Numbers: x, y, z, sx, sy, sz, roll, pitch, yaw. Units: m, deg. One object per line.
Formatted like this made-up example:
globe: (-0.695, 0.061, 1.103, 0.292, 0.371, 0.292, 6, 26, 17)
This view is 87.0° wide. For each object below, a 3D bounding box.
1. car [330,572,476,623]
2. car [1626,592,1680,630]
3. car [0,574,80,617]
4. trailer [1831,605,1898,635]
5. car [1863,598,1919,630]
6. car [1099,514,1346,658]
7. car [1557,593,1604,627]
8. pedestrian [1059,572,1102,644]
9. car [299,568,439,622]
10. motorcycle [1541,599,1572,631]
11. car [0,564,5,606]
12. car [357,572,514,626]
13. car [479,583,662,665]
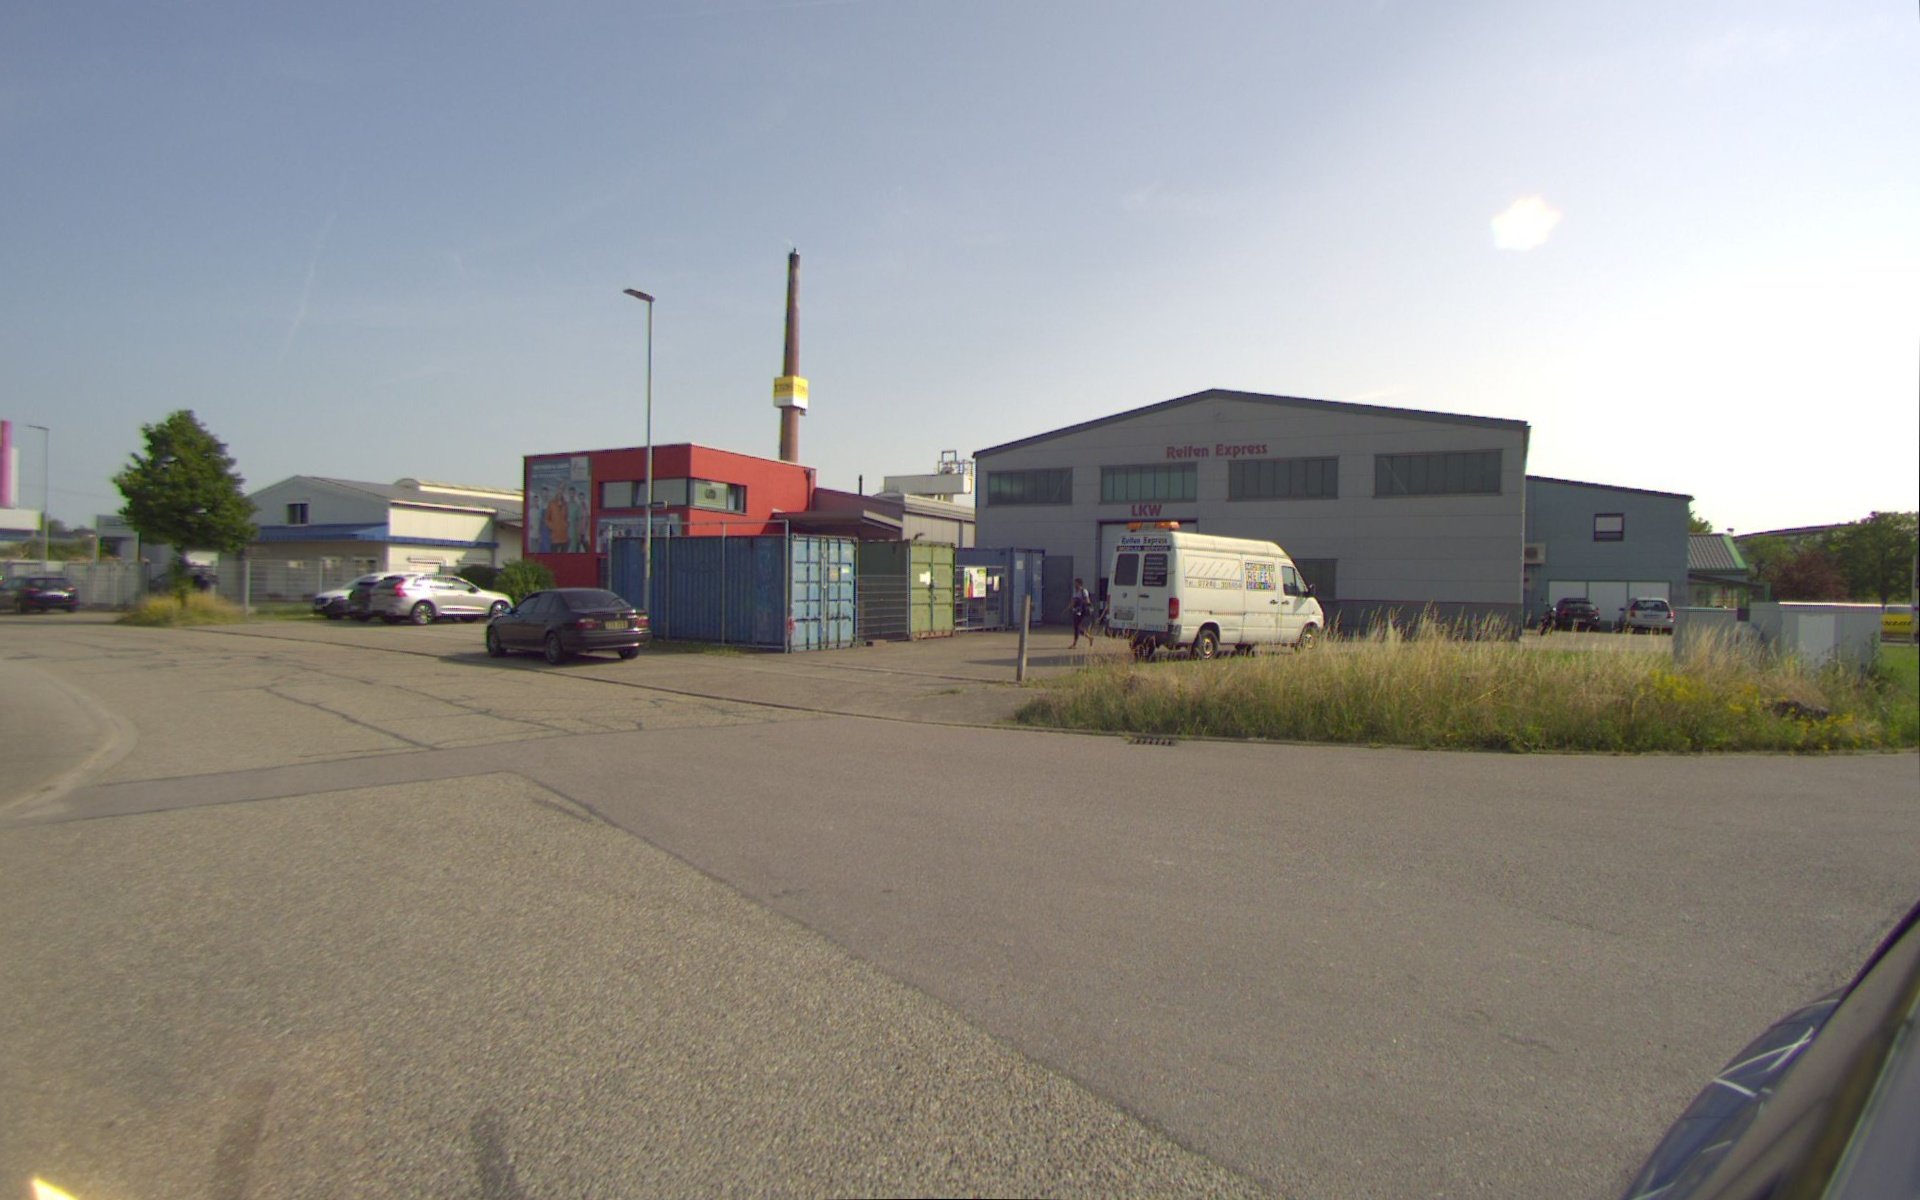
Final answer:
car: (-19.454, -0.112, 35.497, 1.773, 1.653, 4.161, 2, 1, 31)
car: (30.455, 0.458, 44.568, 1.625, 1.588, 3.765, 1, 1, 30)
car: (-36.298, -0.200, 39.703, 3.564, 1.541, 1.812, 2, 1, 34)
trailer: (39.575, 0.854, 44.346, 1.481, 1.264, 2.948, 0, -1, 28)
car: (48.115, 0.696, 51.853, 1.704, 1.592, 4.094, 1, 1, 27)
car: (5.754, -0.263, 21.729, 5.771, 2.739, 1.980, 1, 0, -37)
car: (27.891, 0.411, 45.550, 1.668, 1.420, 3.672, 1, 1, 30)
pedestrian: (2.839, 0.185, 23.959, 0.733, 1.660, 0.706, 1, 0, -23)
car: (-21.598, -0.187, 37.148, 1.702, 1.819, 4.161, 2, 1, 31)
motorcycle: (21.392, 0.524, 36.300, 0.796, 1.108, 2.181, 1, 1, 27)
car: (-42.187, -0.693, 42.804, 3.977, 1.750, 1.974, 2, 1, 37)
car: (-17.476, -0.040, 33.961, 1.773, 1.653, 4.417, 2, 1, 31)
car: (-8.038, 0.405, 20.687, 4.458, 1.426, 1.783, 2, 2, 44)
